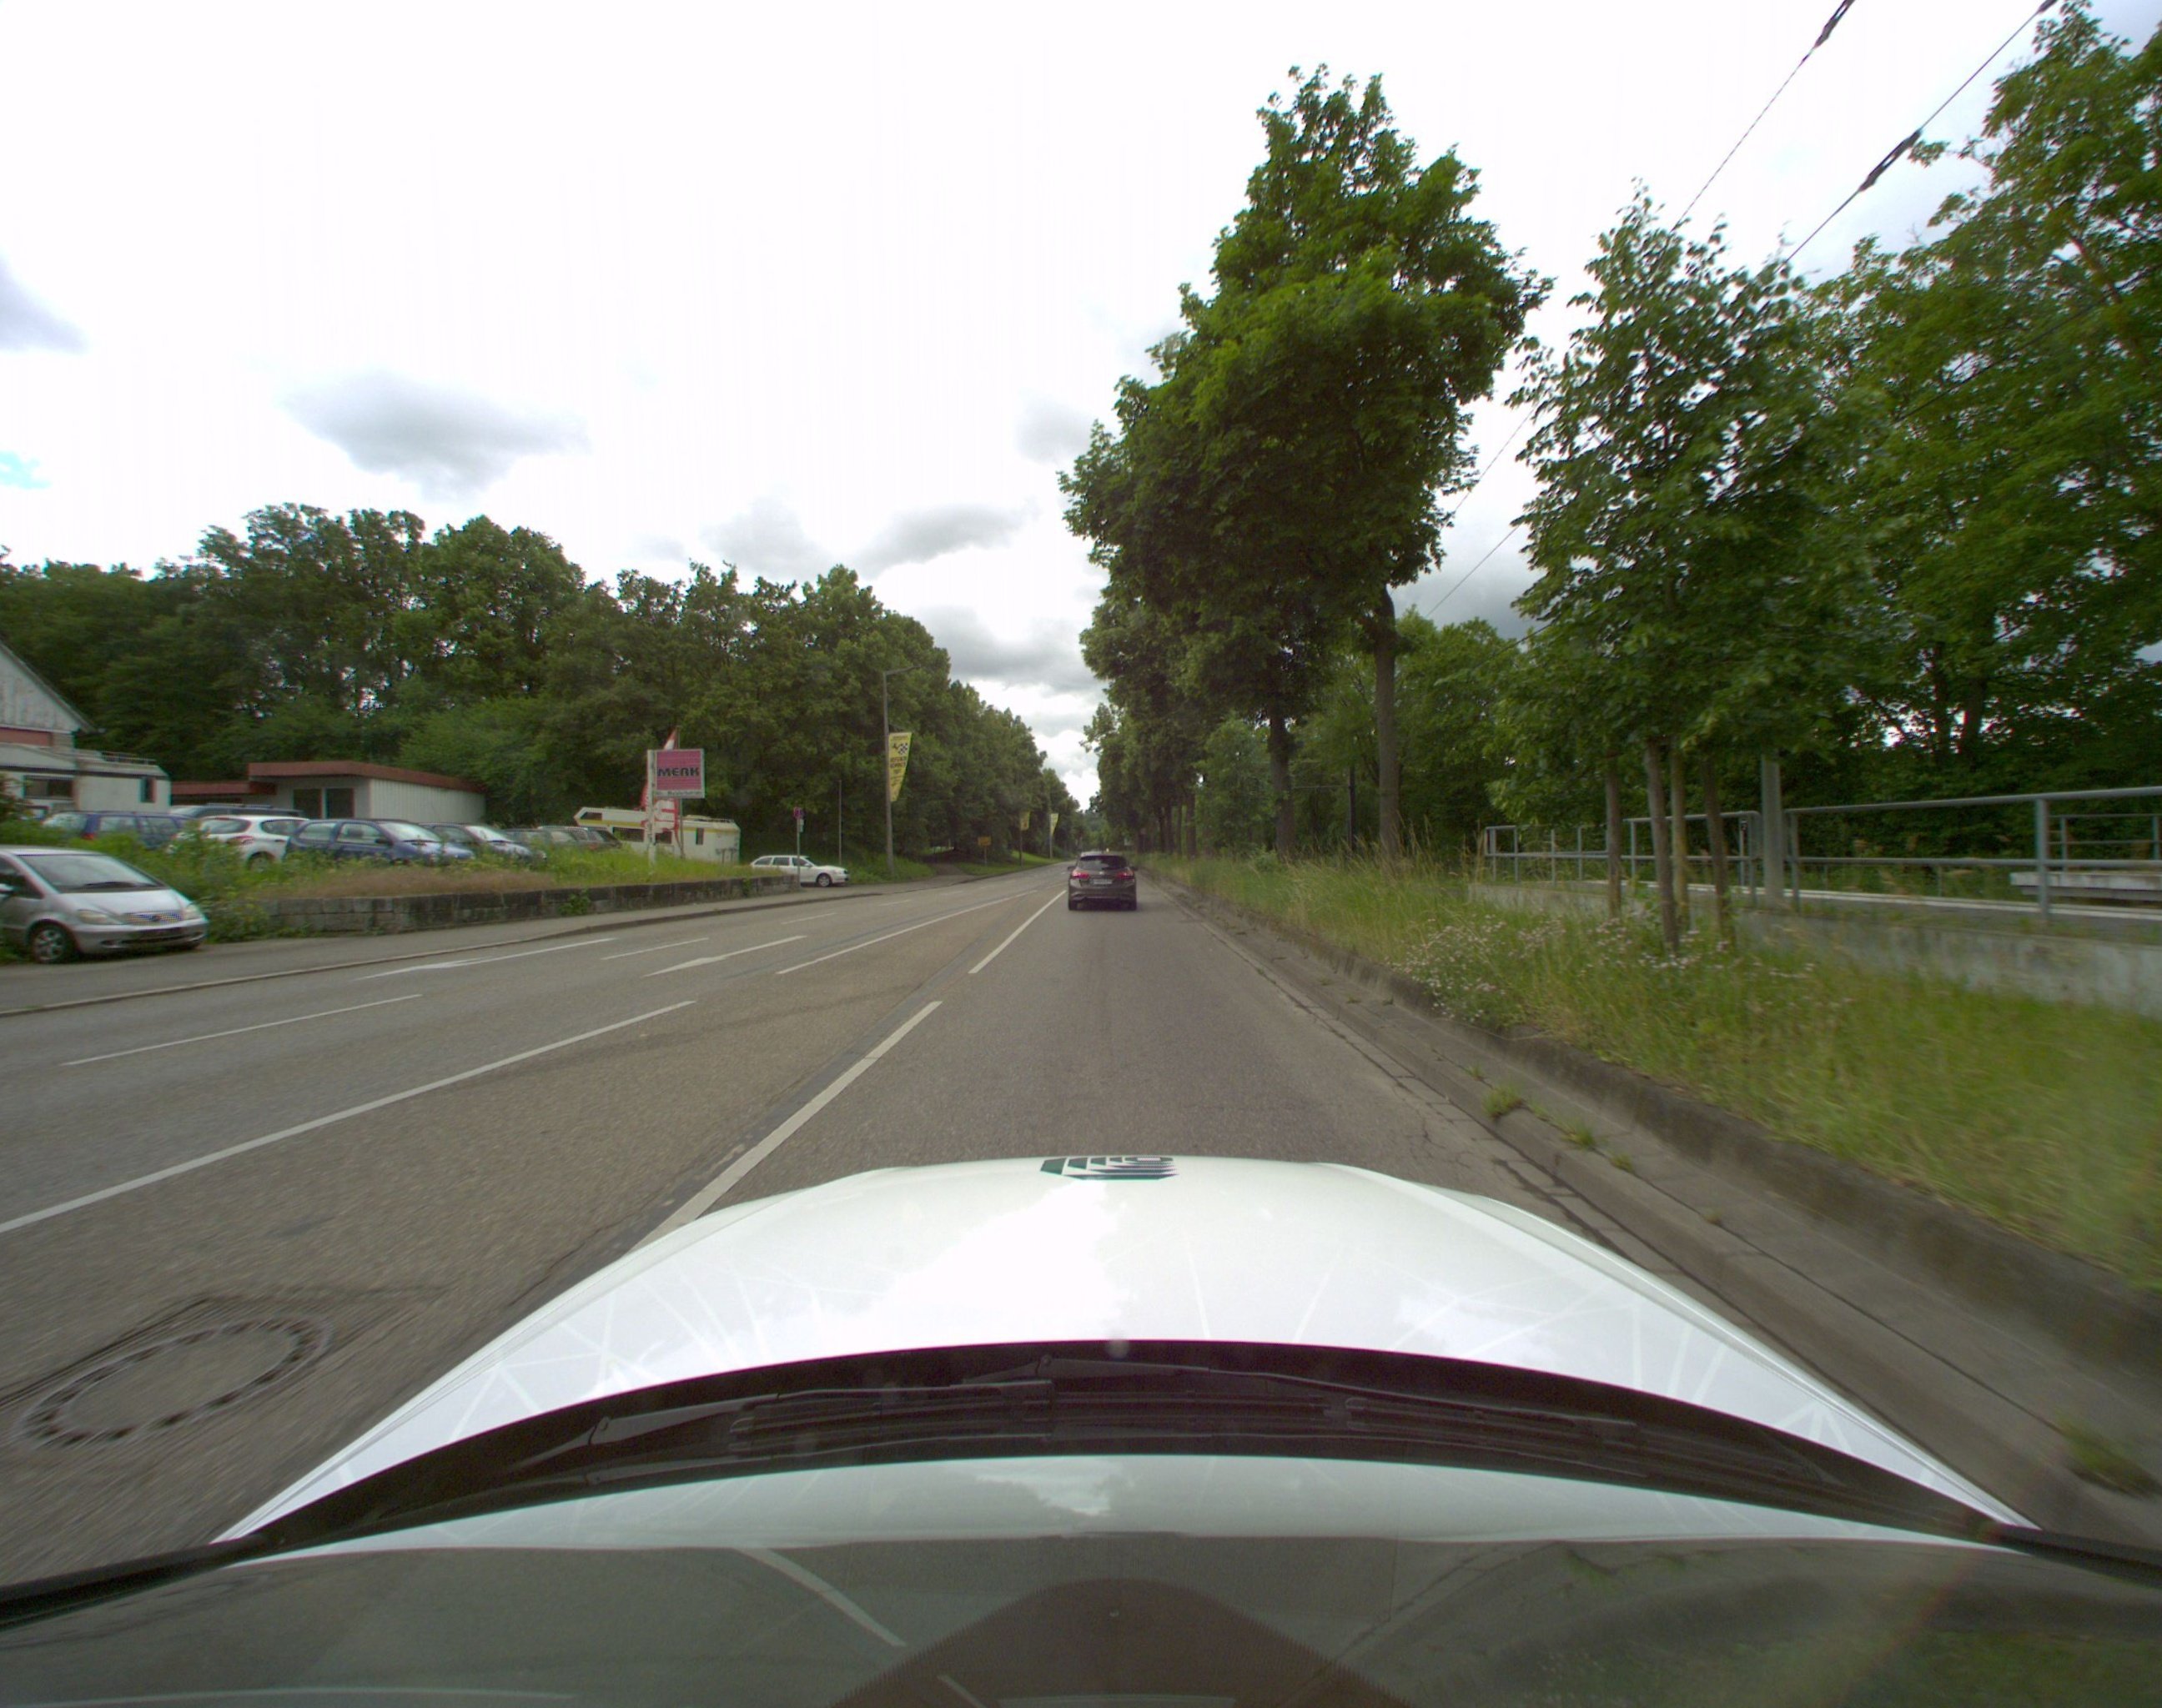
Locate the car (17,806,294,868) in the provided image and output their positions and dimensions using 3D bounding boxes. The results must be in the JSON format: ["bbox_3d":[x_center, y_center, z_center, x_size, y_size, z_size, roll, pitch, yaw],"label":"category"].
[{"bbox_3d":[-22.007,-0.341,19.682,1.662,1.318,4.288,0,-1,2],"label":"car"}]

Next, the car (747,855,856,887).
[{"bbox_3d":[-12.975,0.785,38.044,4.362,1.441,1.960,0,0,-1],"label":"car"}]

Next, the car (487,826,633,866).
[{"bbox_3d":[-18.573,-0.261,29.165,3.966,1.370,2.003,0,-1,6],"label":"car"}]

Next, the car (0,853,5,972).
[{"bbox_3d":[-16.562,0.756,10.049,3.970,1.604,2.001,0,-1,3],"label":"car"}]

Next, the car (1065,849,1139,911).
[{"bbox_3d":[0.651,0.661,22.257,1.829,1.528,3.932,0,0,4],"label":"car"}]

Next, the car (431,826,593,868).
[{"bbox_3d":[-18.396,-0.205,26.451,3.914,1.268,1.887,0,-1,3],"label":"car"}]

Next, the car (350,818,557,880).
[{"bbox_3d":[-15.159,-0.120,19.779,3.966,1.411,1.536,0,-1,6],"label":"car"}]

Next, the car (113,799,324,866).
[{"bbox_3d":[-28.745,-0.636,27.430,1.872,2.063,4.753,0,-1,2],"label":"car"}]

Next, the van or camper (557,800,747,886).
[{"bbox_3d":[-19.865,-0.504,38.014,7.115,3.371,2.797,4,0,1],"label":"van or camper"}]

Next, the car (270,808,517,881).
[{"bbox_3d":[-14.996,-0.191,17.905,3.966,1.497,1.862,0,-1,6],"label":"car"}]

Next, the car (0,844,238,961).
[{"bbox_3d":[-15.848,0.672,12.398,3.970,1.617,2.001,0,-1,3],"label":"car"}]

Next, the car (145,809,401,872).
[{"bbox_3d":[-19.316,-0.299,19.818,1.841,1.342,4.400,-1,0,0],"label":"car"}]

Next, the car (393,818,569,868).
[{"bbox_3d":[-17.565,-0.310,23.955,3.820,1.378,1.921,0,-1,6],"label":"car"}]

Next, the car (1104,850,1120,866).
[{"bbox_3d":[3.208,0.414,83.620,1.496,1.528,3.675,0,0,4],"label":"car"}]

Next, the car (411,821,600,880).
[{"bbox_3d":[-15.285,-0.088,21.741,3.966,1.492,1.650,0,-1,6],"label":"car"}]
